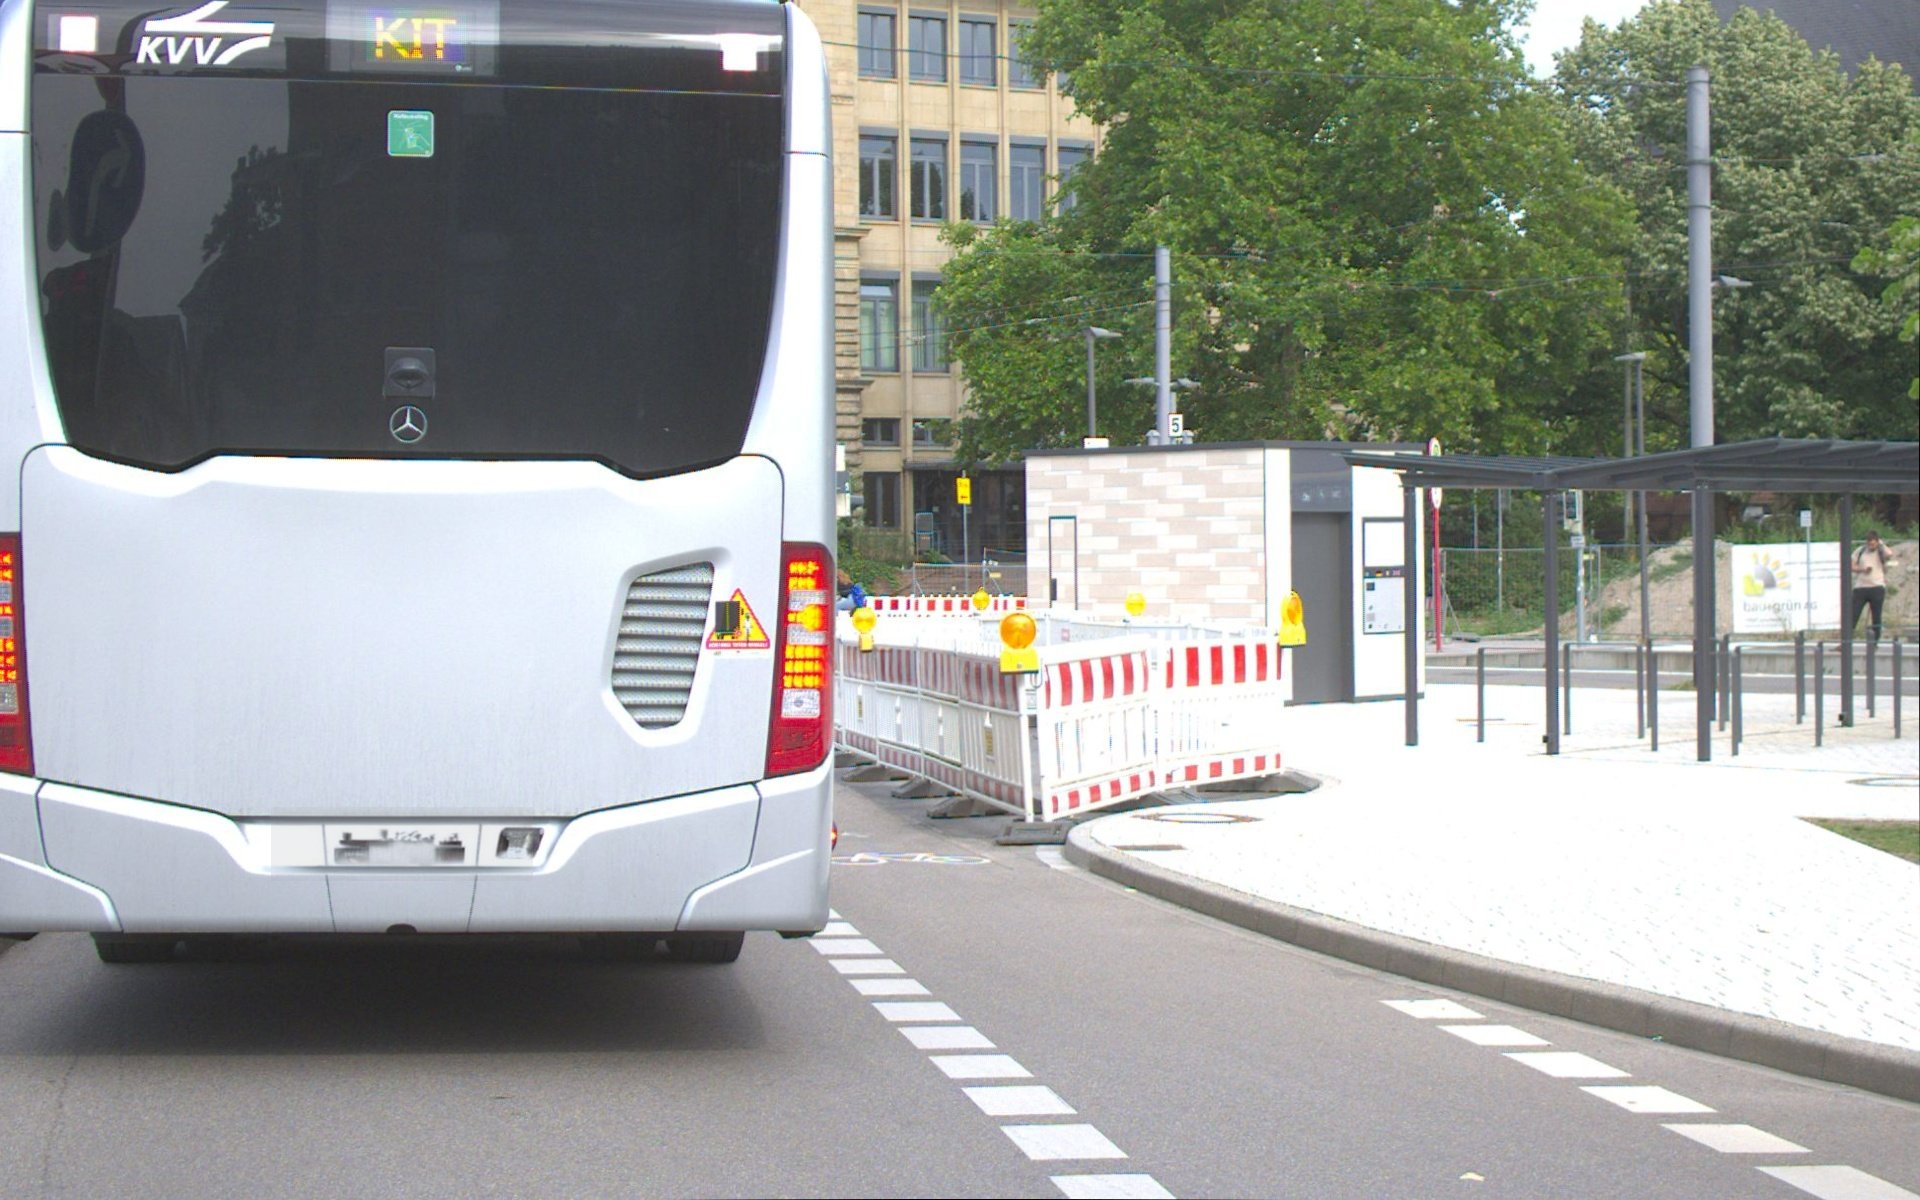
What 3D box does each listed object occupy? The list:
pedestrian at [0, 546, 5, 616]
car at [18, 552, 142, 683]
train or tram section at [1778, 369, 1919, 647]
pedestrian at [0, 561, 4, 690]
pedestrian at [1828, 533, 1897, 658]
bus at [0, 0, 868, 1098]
[{"bbox_3d":[-28.074,-0.555,98.909,0.887,2.007,1.009,-1,1,-34],"label":"pedestrian"},{"bbox_3d":[-15.267,0.264,59.549,1.993,2.006,4.002,-1,3,-15],"label":"car"},{"bbox_3d":[14.271,-1.016,39.401,3.054,3.266,9.366,-3,4,-43],"label":"train or tram section"},{"bbox_3d":[-13.189,0.355,45.596,0.797,1.705,0.840,0,3,-3],"label":"pedestrian"},{"bbox_3d":[13.207,-0.070,50.313,0.821,1.794,0.752,0,3,3],"label":"pedestrian"},{"bbox_3d":[-2.698,-0.365,16.546,2.704,3.426,14.187,0,0,-9],"label":"bus"}]
